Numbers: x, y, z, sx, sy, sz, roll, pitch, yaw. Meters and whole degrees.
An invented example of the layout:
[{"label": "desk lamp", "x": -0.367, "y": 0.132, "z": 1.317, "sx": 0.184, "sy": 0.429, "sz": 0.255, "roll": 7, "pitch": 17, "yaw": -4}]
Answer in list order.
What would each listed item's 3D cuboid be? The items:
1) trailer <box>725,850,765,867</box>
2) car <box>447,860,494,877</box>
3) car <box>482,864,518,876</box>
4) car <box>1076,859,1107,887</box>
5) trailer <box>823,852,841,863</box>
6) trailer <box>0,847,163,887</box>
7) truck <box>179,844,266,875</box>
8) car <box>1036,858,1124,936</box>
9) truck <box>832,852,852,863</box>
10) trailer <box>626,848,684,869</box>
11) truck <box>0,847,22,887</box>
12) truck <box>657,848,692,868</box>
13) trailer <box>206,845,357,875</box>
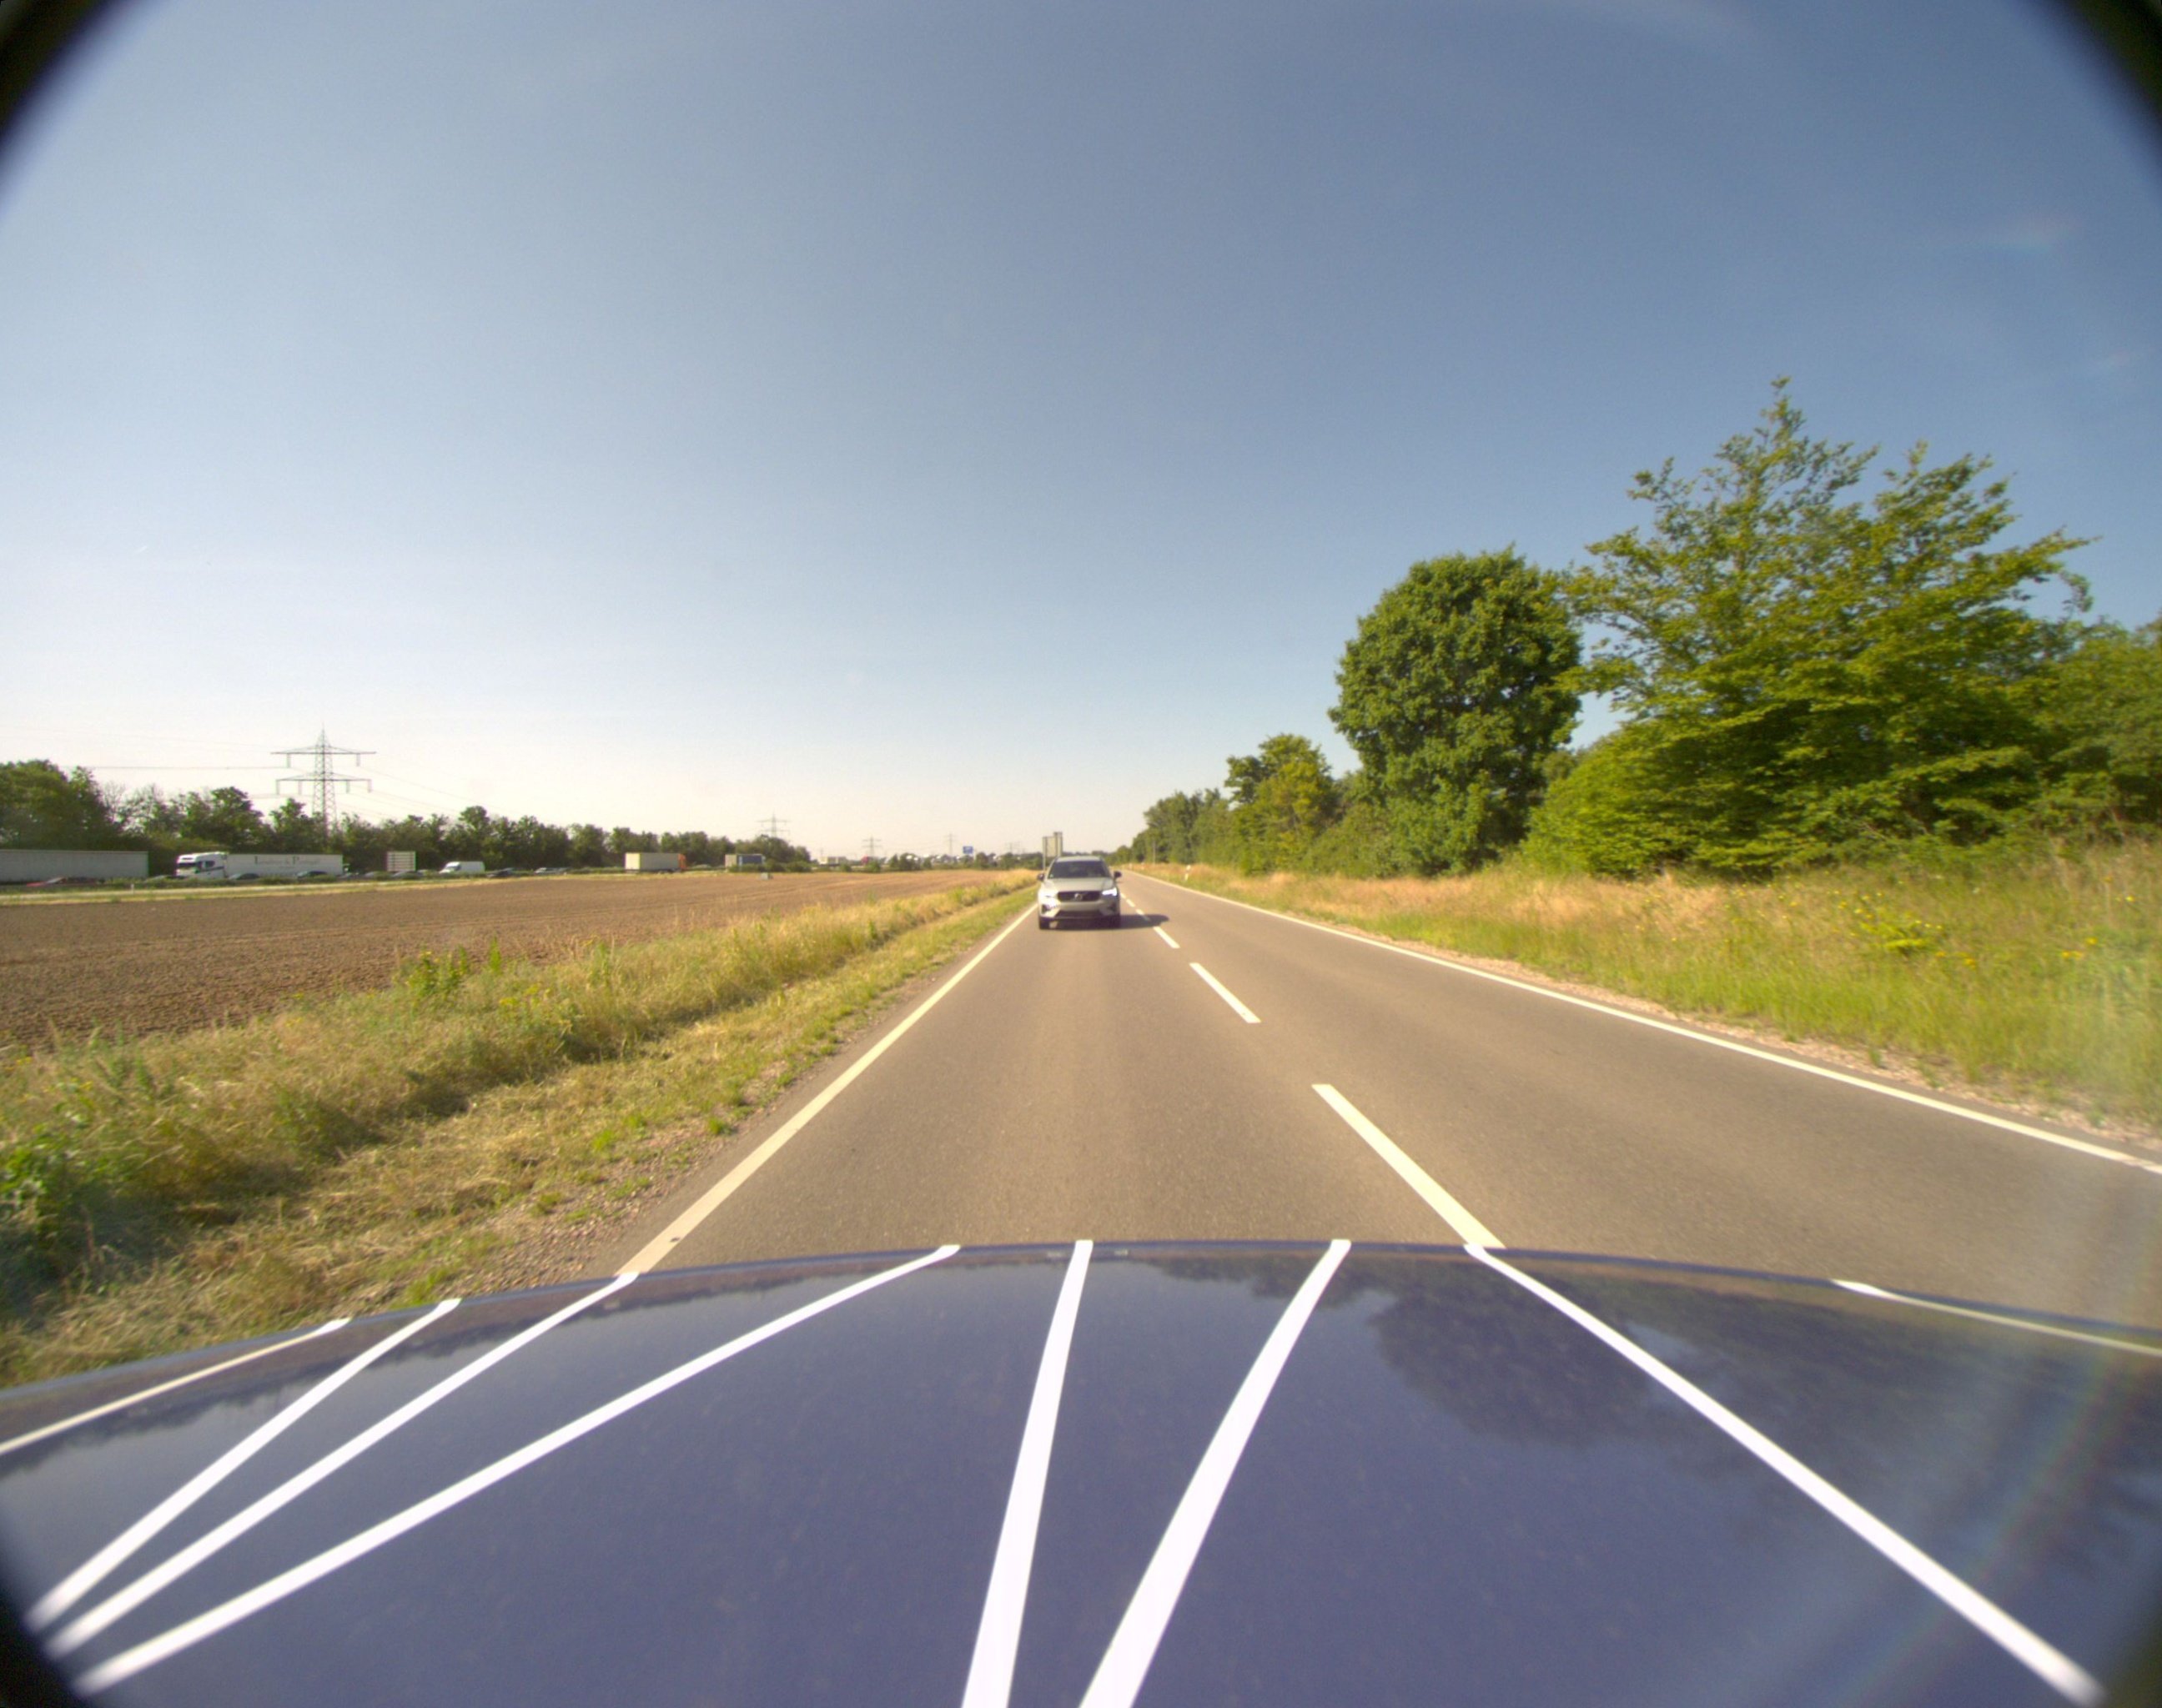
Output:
[{"label": "trailer", "x": -80.398, "y": 1.152, "z": 182.345, "sx": 3.080, "sy": 3.779, "sz": 14.593, "roll": -2, "pitch": -1, "yaw": -1}, {"label": "car", "x": -95.252, "y": 2.244, "z": 118.635, "sx": 2.042, "sy": 2.432, "sz": 6.414, "roll": -2, "pitch": 0, "yaw": 2}, {"label": "car", "x": -81.896, "y": 2.171, "z": 107.181, "sx": 1.707, "sy": 1.534, "sz": 4.197, "roll": -3, "pitch": 0, "yaw": 1}, {"label": "car", "x": 0.684, "y": 1.192, "z": 48.360, "sx": 1.840, "sy": 1.627, "sz": 4.135, "roll": -2, "pitch": 0, "yaw": 1}, {"label": "trailer", "x": -78.563, "y": 1.191, "z": 239.835, "sx": 2.800, "sy": 3.395, "sz": 8.718, "roll": -1, "pitch": 0, "yaw": 0}, {"label": "trailer", "x": -100.965, "y": 1.218, "z": 75.301, "sx": 2.953, "sy": 3.711, "sz": 13.783, "roll": -1, "pitch": 0, "yaw": 1}, {"label": "truck", "x": -100.548, "y": 0.668, "z": 89.110, "sx": 3.210, "sy": 3.510, "sz": 6.109, "roll": 0, "pitch": 0, "yaw": 0}, {"label": "car", "x": 0.027, "y": 0.937, "z": 18.454, "sx": 1.840, "sy": 1.627, "sz": 4.136, "roll": -2, "pitch": 0, "yaw": 1}, {"label": "truck", "x": -78.552, "y": 1.185, "z": 249.715, "sx": 2.813, "sy": 3.457, "sz": 11.120, "roll": -1, "pitch": 0, "yaw": 0}, {"label": "trailer", "x": -81.431, "y": 0.865, "z": 145.617, "sx": 3.111, "sy": 3.826, "sz": 13.720, "roll": -1, "pitch": 0, "yaw": 1}, {"label": "truck", "x": -101.040, "y": 1.214, "z": 68.416, "sx": 2.953, "sy": 3.711, "sz": 5.870, "roll": -1, "pitch": 0, "yaw": 1}, {"label": "truck", "x": -81.277, "y": 0.883, "z": 152.050, "sx": 3.111, "sy": 3.826, "sz": 6.951, "roll": -1, "pitch": 0, "yaw": 1}, {"label": "trailer", "x": -100.492, "y": 0.690, "z": 96.196, "sx": 3.210, "sy": 3.510, "sz": 15.083, "roll": 0, "pitch": 0, "yaw": 0}]
